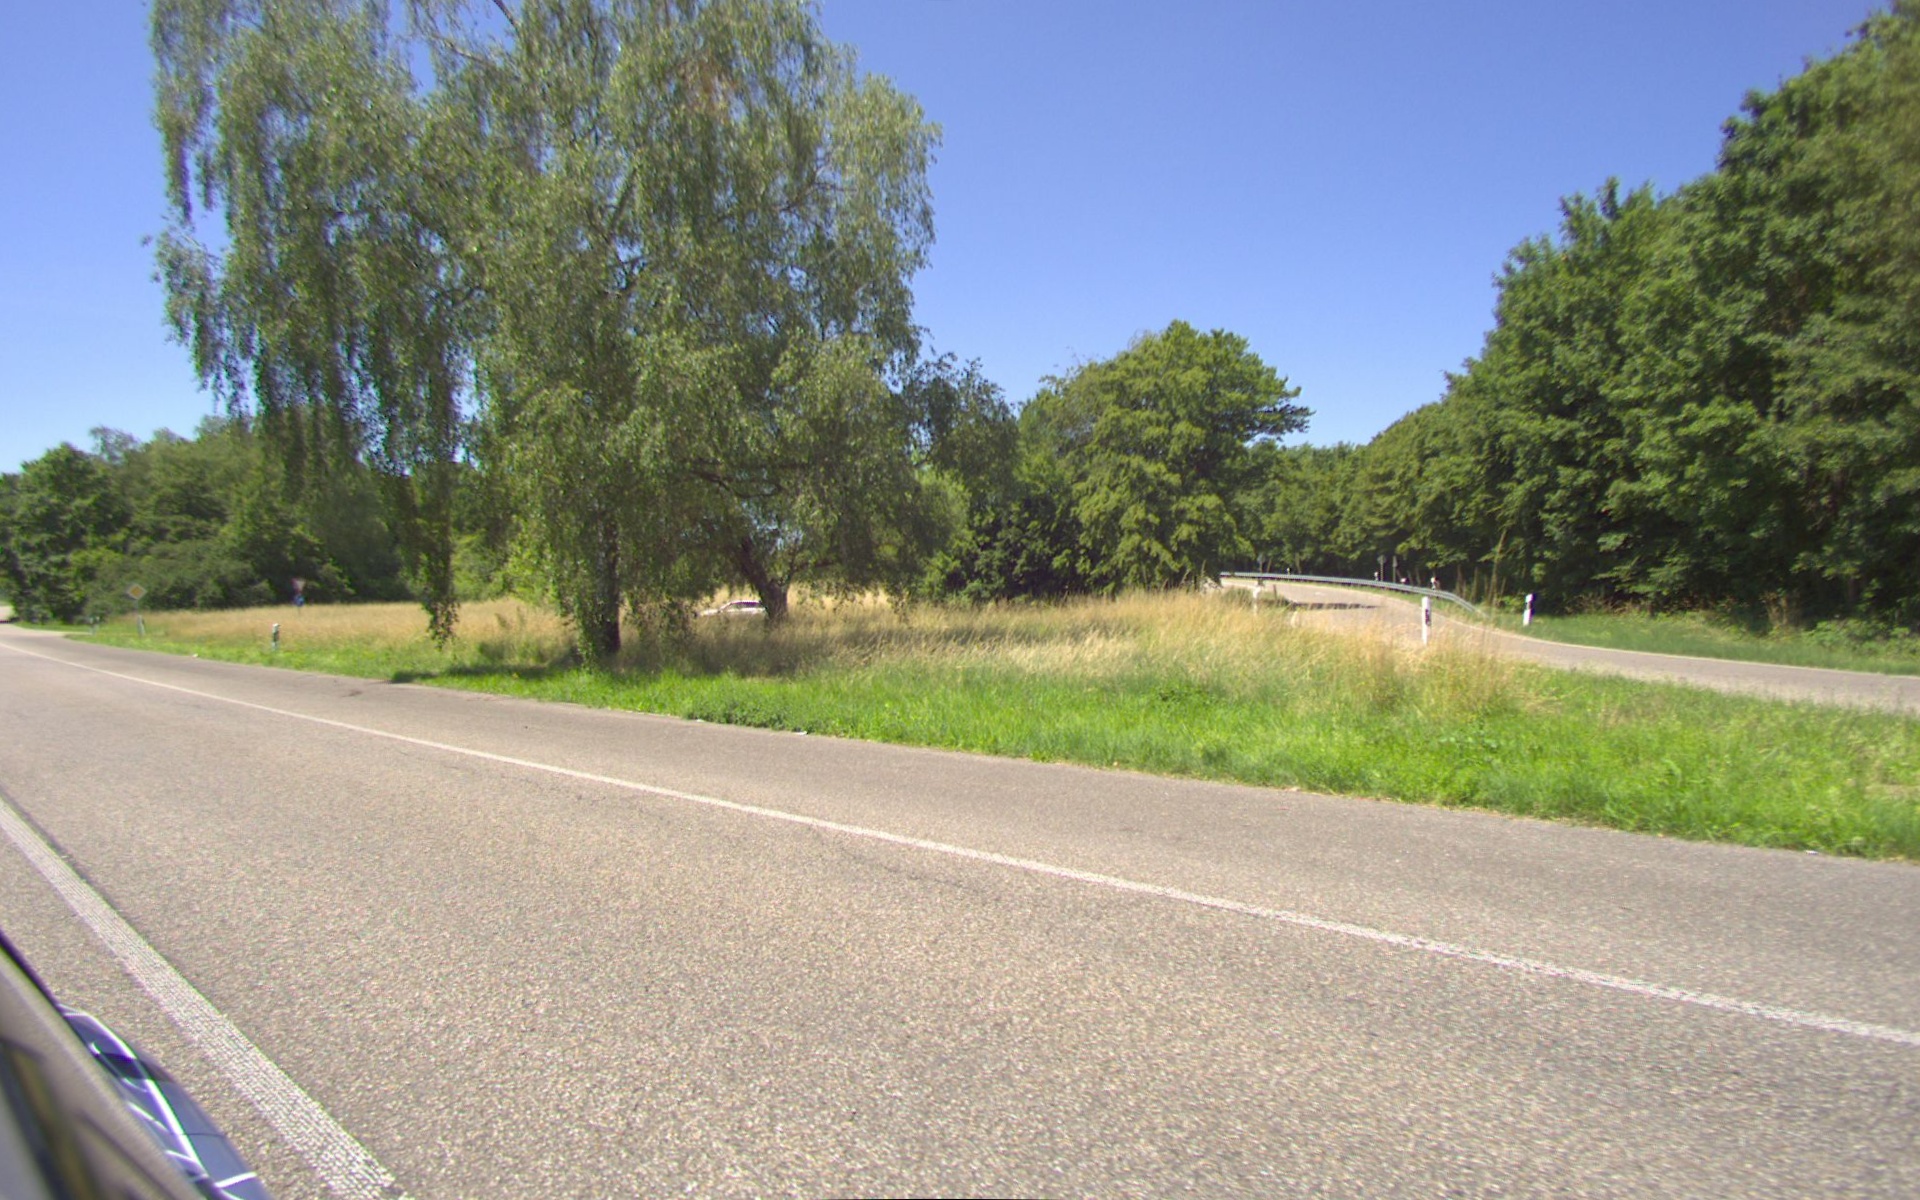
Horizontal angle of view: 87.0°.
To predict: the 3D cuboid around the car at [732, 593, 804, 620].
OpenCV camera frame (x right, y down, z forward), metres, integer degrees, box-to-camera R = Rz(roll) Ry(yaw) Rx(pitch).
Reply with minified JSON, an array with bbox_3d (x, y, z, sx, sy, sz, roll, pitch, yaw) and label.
[{"bbox_3d":[-10.786,0.378,56.879,3.935,1.478,1.668,0,-1,-10],"label":"car"}]
